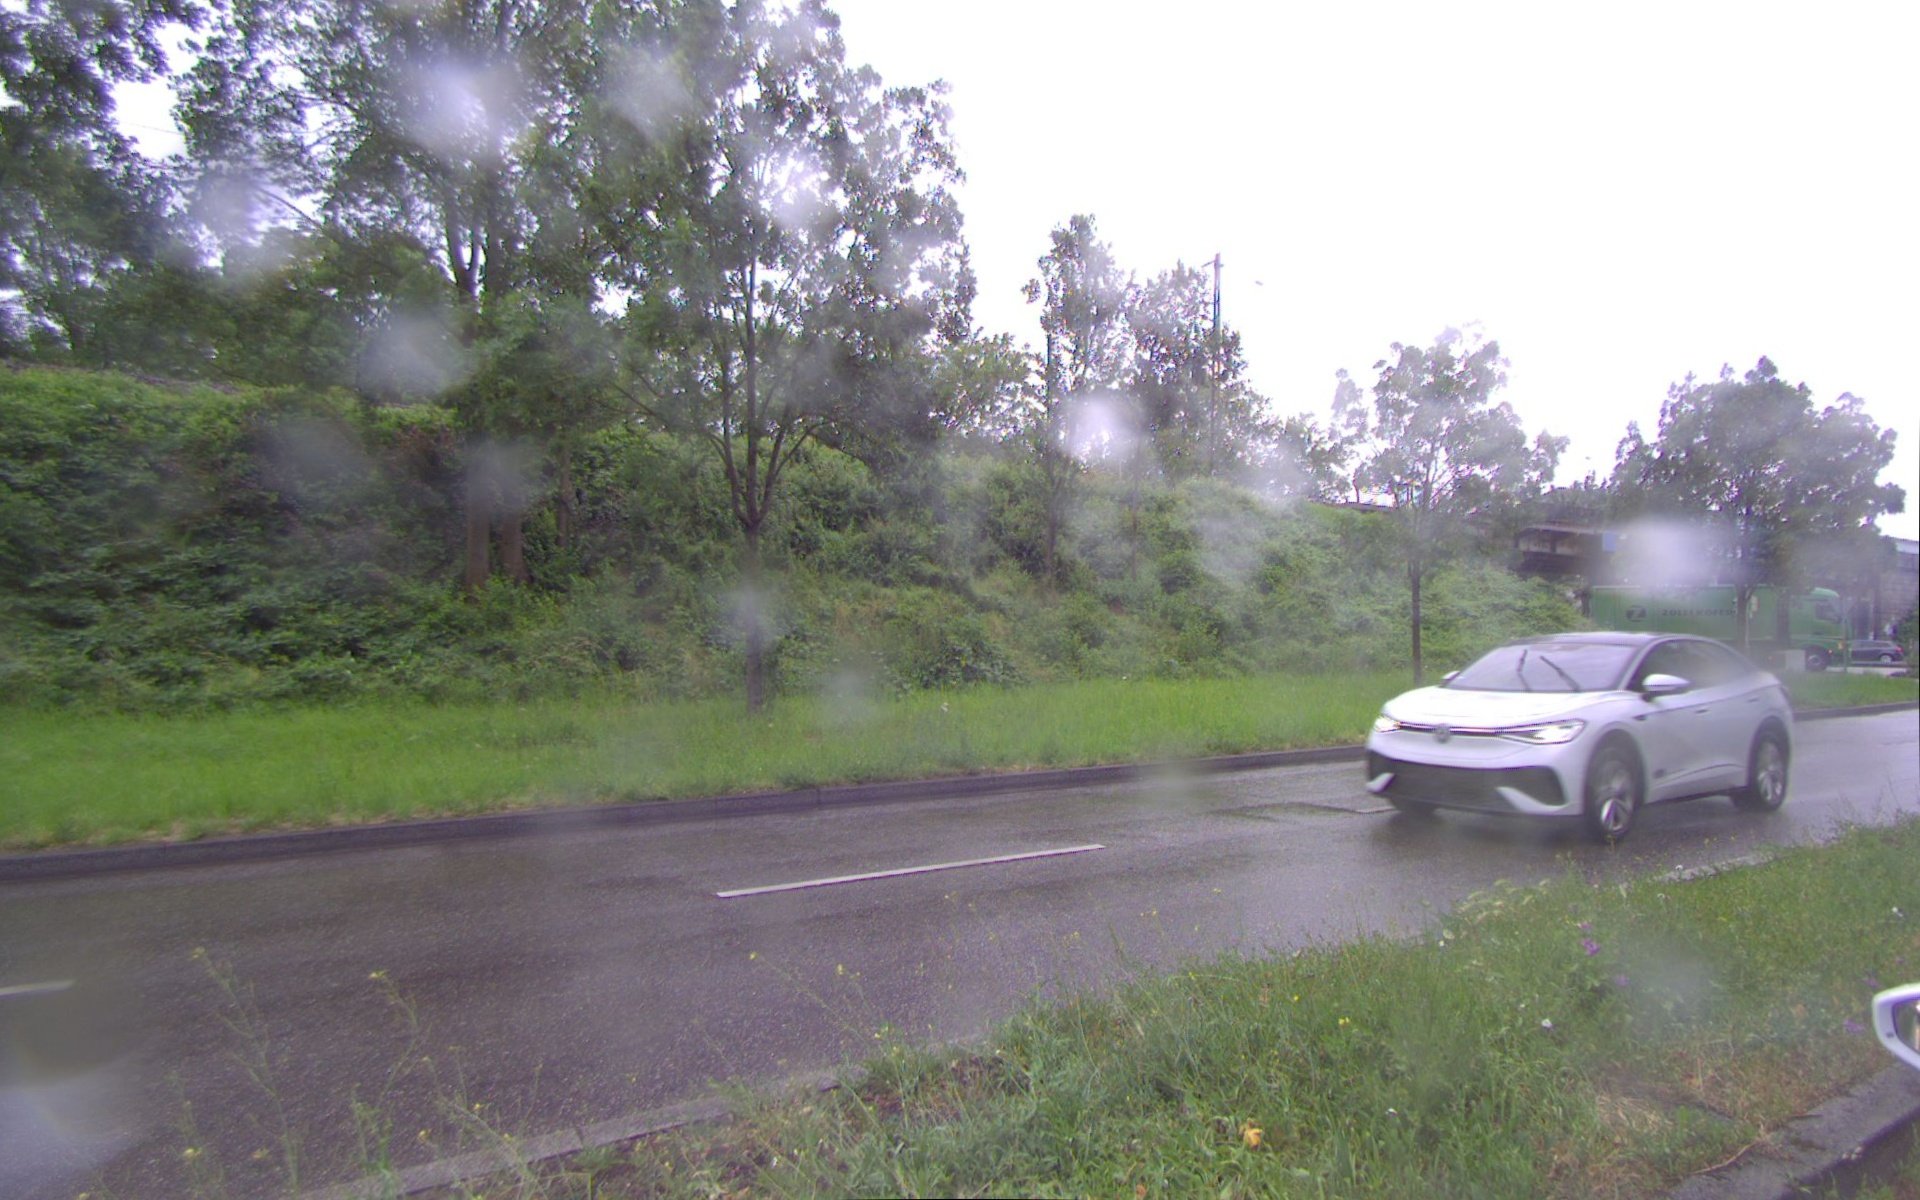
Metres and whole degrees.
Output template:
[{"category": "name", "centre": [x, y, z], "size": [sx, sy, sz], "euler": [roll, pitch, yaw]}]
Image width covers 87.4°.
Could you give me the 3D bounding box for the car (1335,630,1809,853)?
[{"category": "car", "centre": [5.610, 1.072, 9.093], "size": [4.286, 1.545, 1.952], "euler": [1, -2, -32]}]

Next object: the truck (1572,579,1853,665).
[{"category": "truck", "centre": [34.341, 0.964, 46.413], "size": [9.947, 3.497, 2.657], "euler": [2, -1, 24]}]
